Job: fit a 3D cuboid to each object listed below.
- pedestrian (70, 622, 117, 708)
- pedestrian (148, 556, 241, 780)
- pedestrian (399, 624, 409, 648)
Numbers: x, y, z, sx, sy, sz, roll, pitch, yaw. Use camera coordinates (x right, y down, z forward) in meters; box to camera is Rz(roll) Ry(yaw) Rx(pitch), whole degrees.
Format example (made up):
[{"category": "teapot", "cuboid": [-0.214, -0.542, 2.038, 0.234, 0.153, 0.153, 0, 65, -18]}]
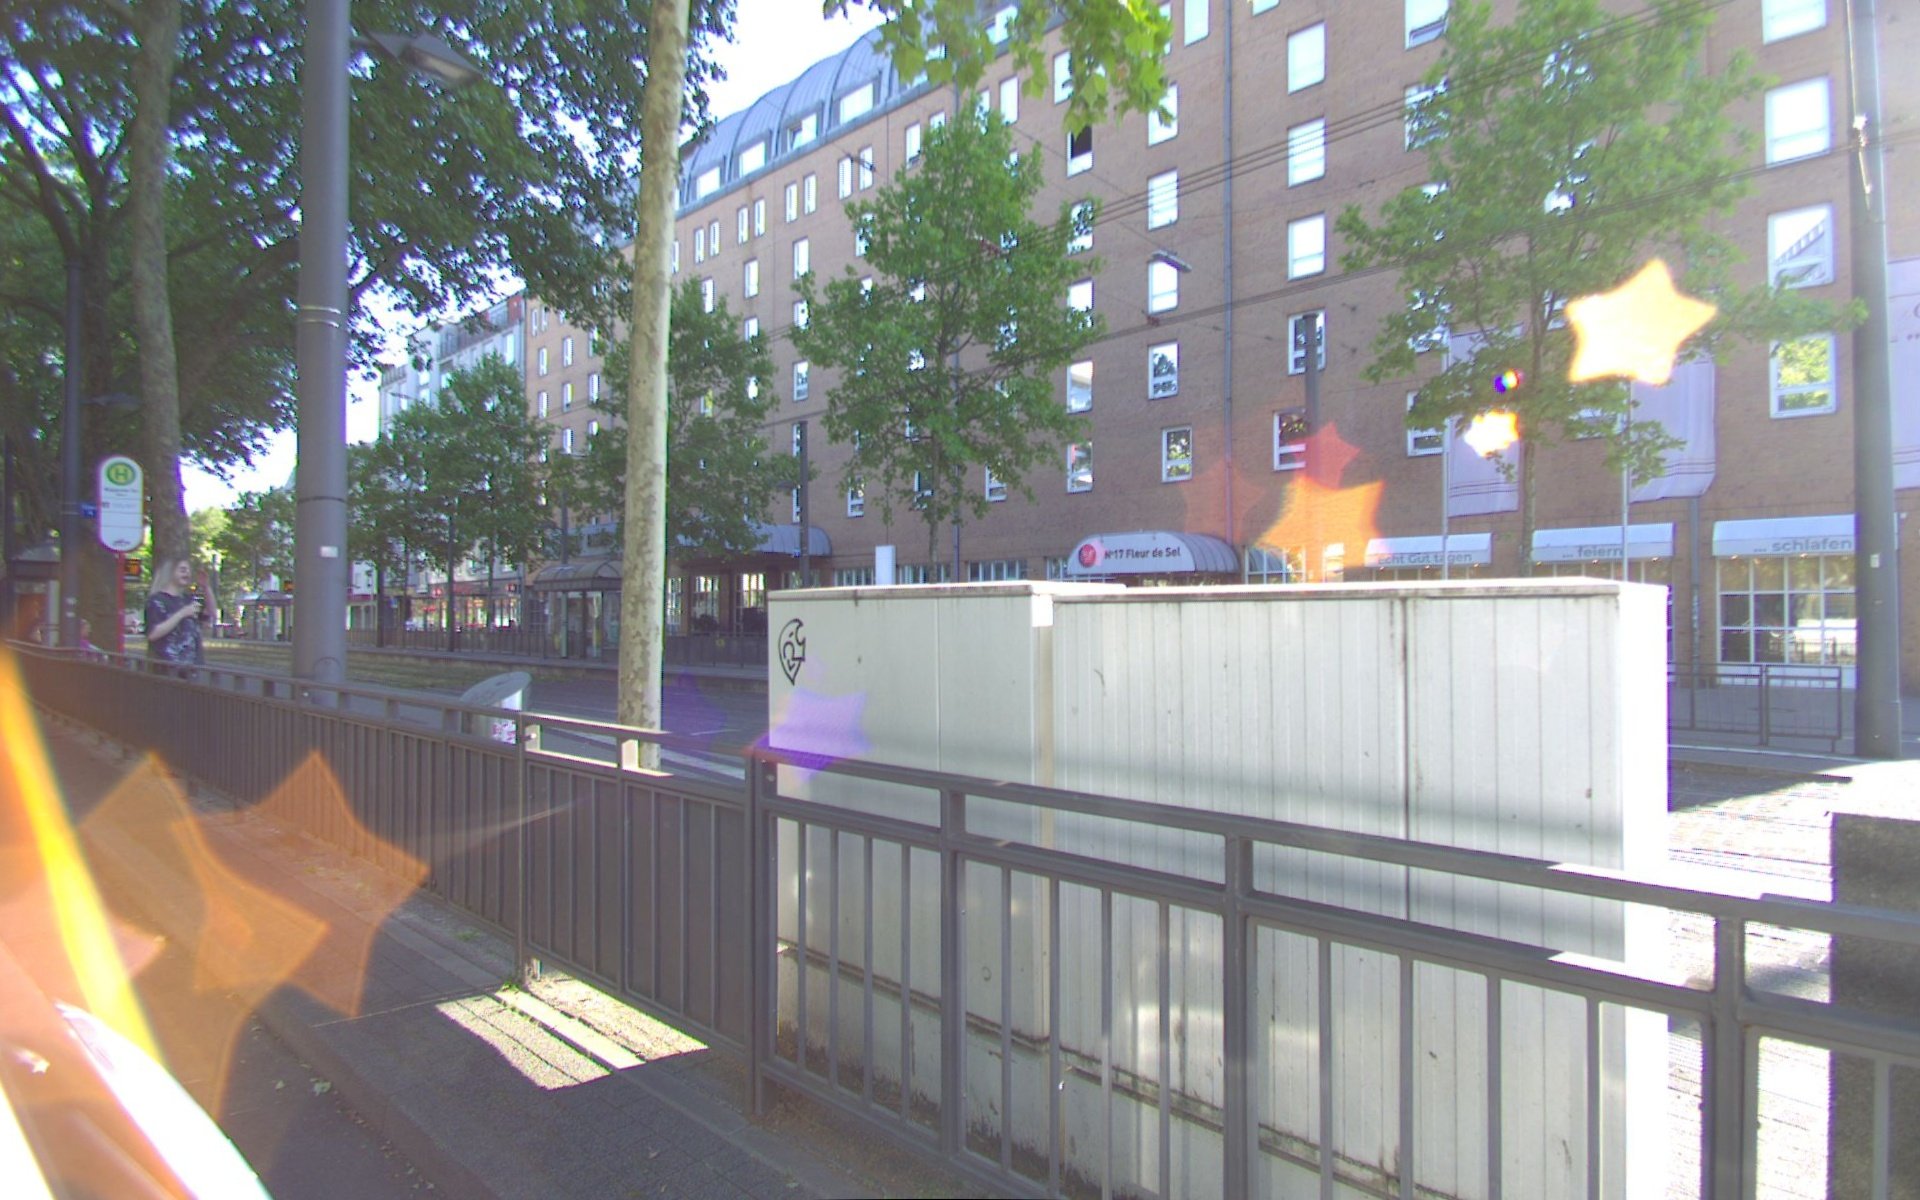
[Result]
[{"category": "pedestrian", "cuboid": [-13.966, 1.035, 16.319, 0.534, 1.327, 0.525, -1, 0, -37]}, {"category": "pedestrian", "cuboid": [-6.581, 0.557, 8.703, 0.524, 1.848, 0.536, -1, 0, 43]}, {"category": "pedestrian", "cuboid": [-40.555, 2.627, 73.812, 0.574, 1.748, 0.497, -2, -2, 43]}]
